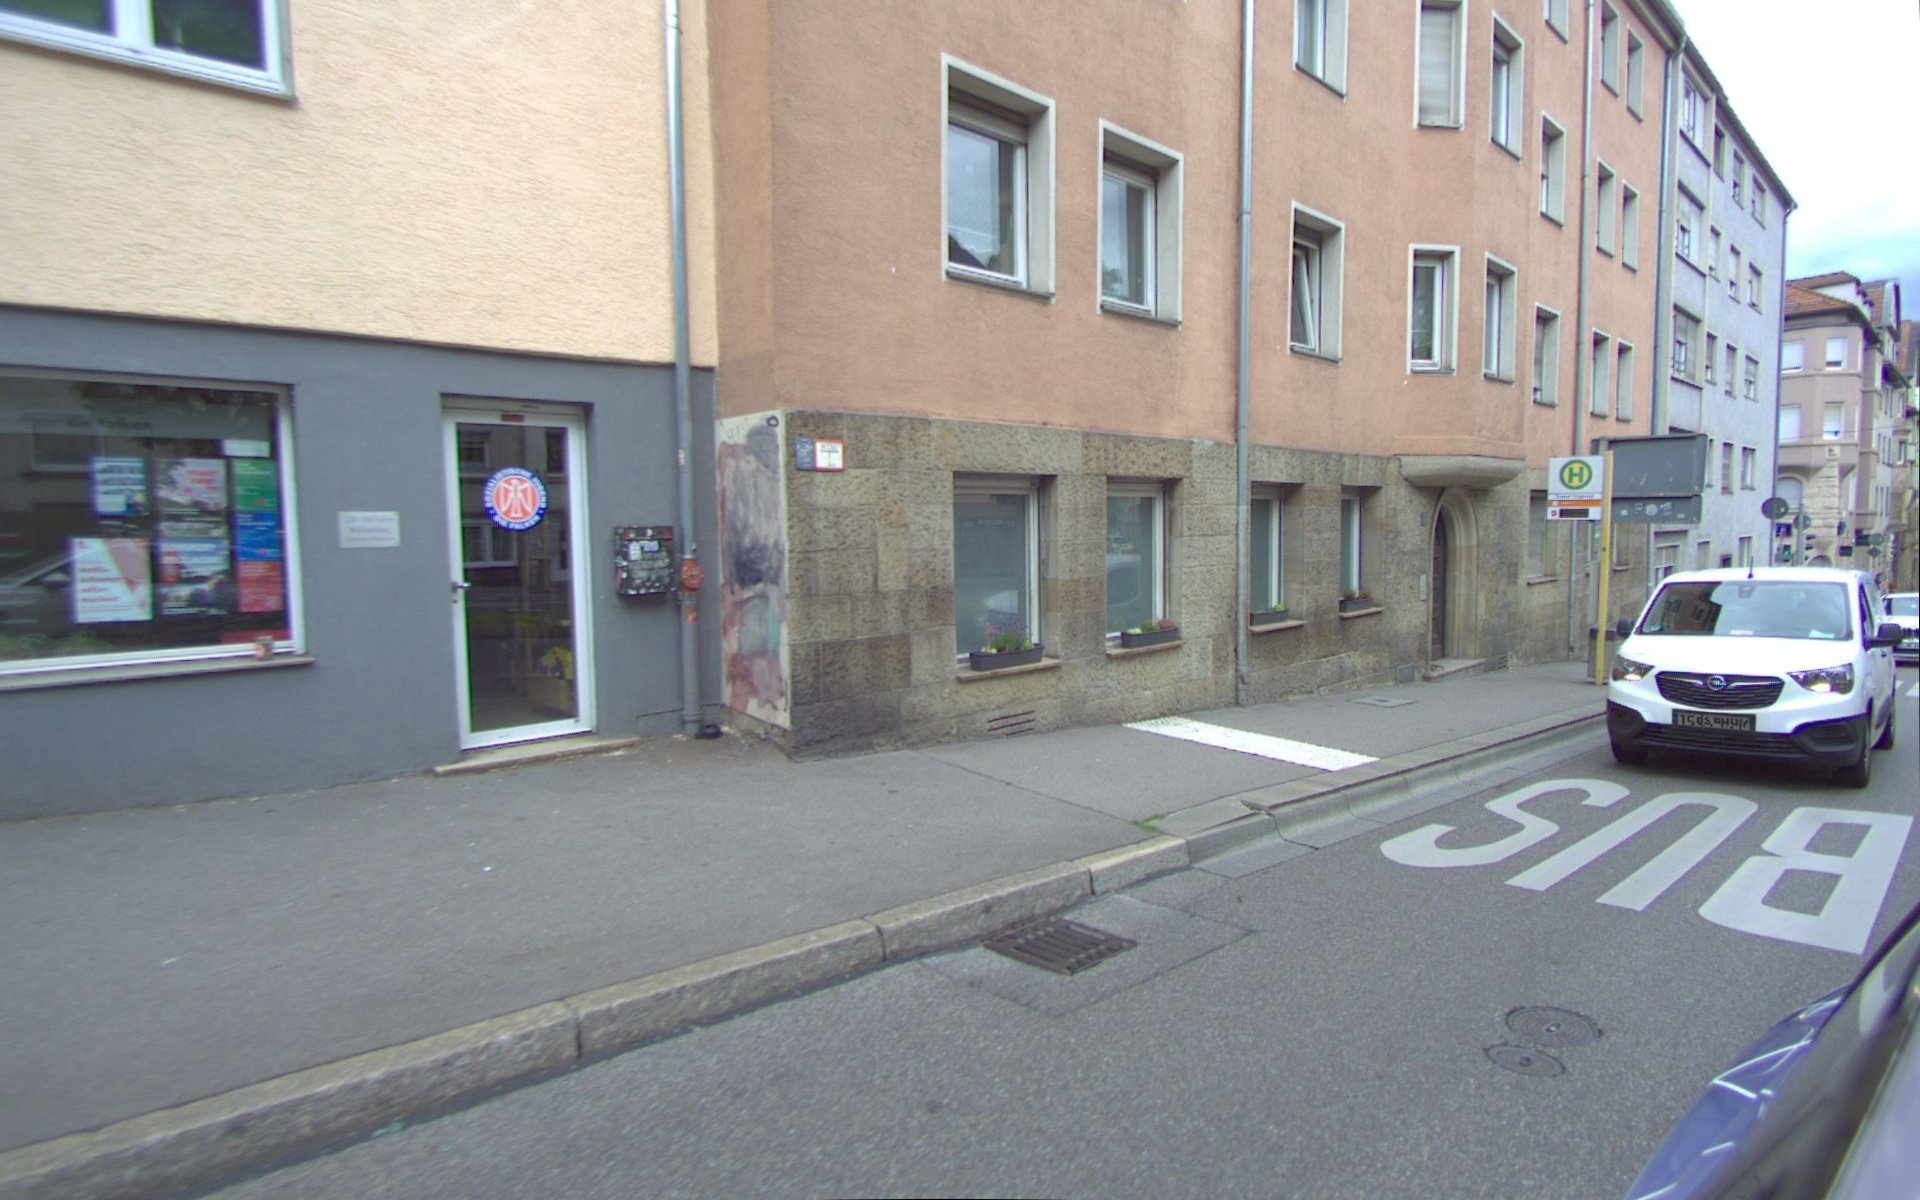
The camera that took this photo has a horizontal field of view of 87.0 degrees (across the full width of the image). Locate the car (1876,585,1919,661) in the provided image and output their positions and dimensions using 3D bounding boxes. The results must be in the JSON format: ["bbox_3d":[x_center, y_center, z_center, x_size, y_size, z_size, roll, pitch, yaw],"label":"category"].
[{"bbox_3d":[22.074,0.479,22.874,4.095,1.628,1.776,-1,0,-44],"label":"car"}]

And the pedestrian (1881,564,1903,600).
[{"bbox_3d":[43.480,-0.850,47.206,0.733,1.668,0.989,1,1,45],"label":"pedestrian"}]

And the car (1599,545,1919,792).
[{"bbox_3d":[7.862,0.468,9.738,4.763,1.811,1.786,-1,1,-43],"label":"car"}]
